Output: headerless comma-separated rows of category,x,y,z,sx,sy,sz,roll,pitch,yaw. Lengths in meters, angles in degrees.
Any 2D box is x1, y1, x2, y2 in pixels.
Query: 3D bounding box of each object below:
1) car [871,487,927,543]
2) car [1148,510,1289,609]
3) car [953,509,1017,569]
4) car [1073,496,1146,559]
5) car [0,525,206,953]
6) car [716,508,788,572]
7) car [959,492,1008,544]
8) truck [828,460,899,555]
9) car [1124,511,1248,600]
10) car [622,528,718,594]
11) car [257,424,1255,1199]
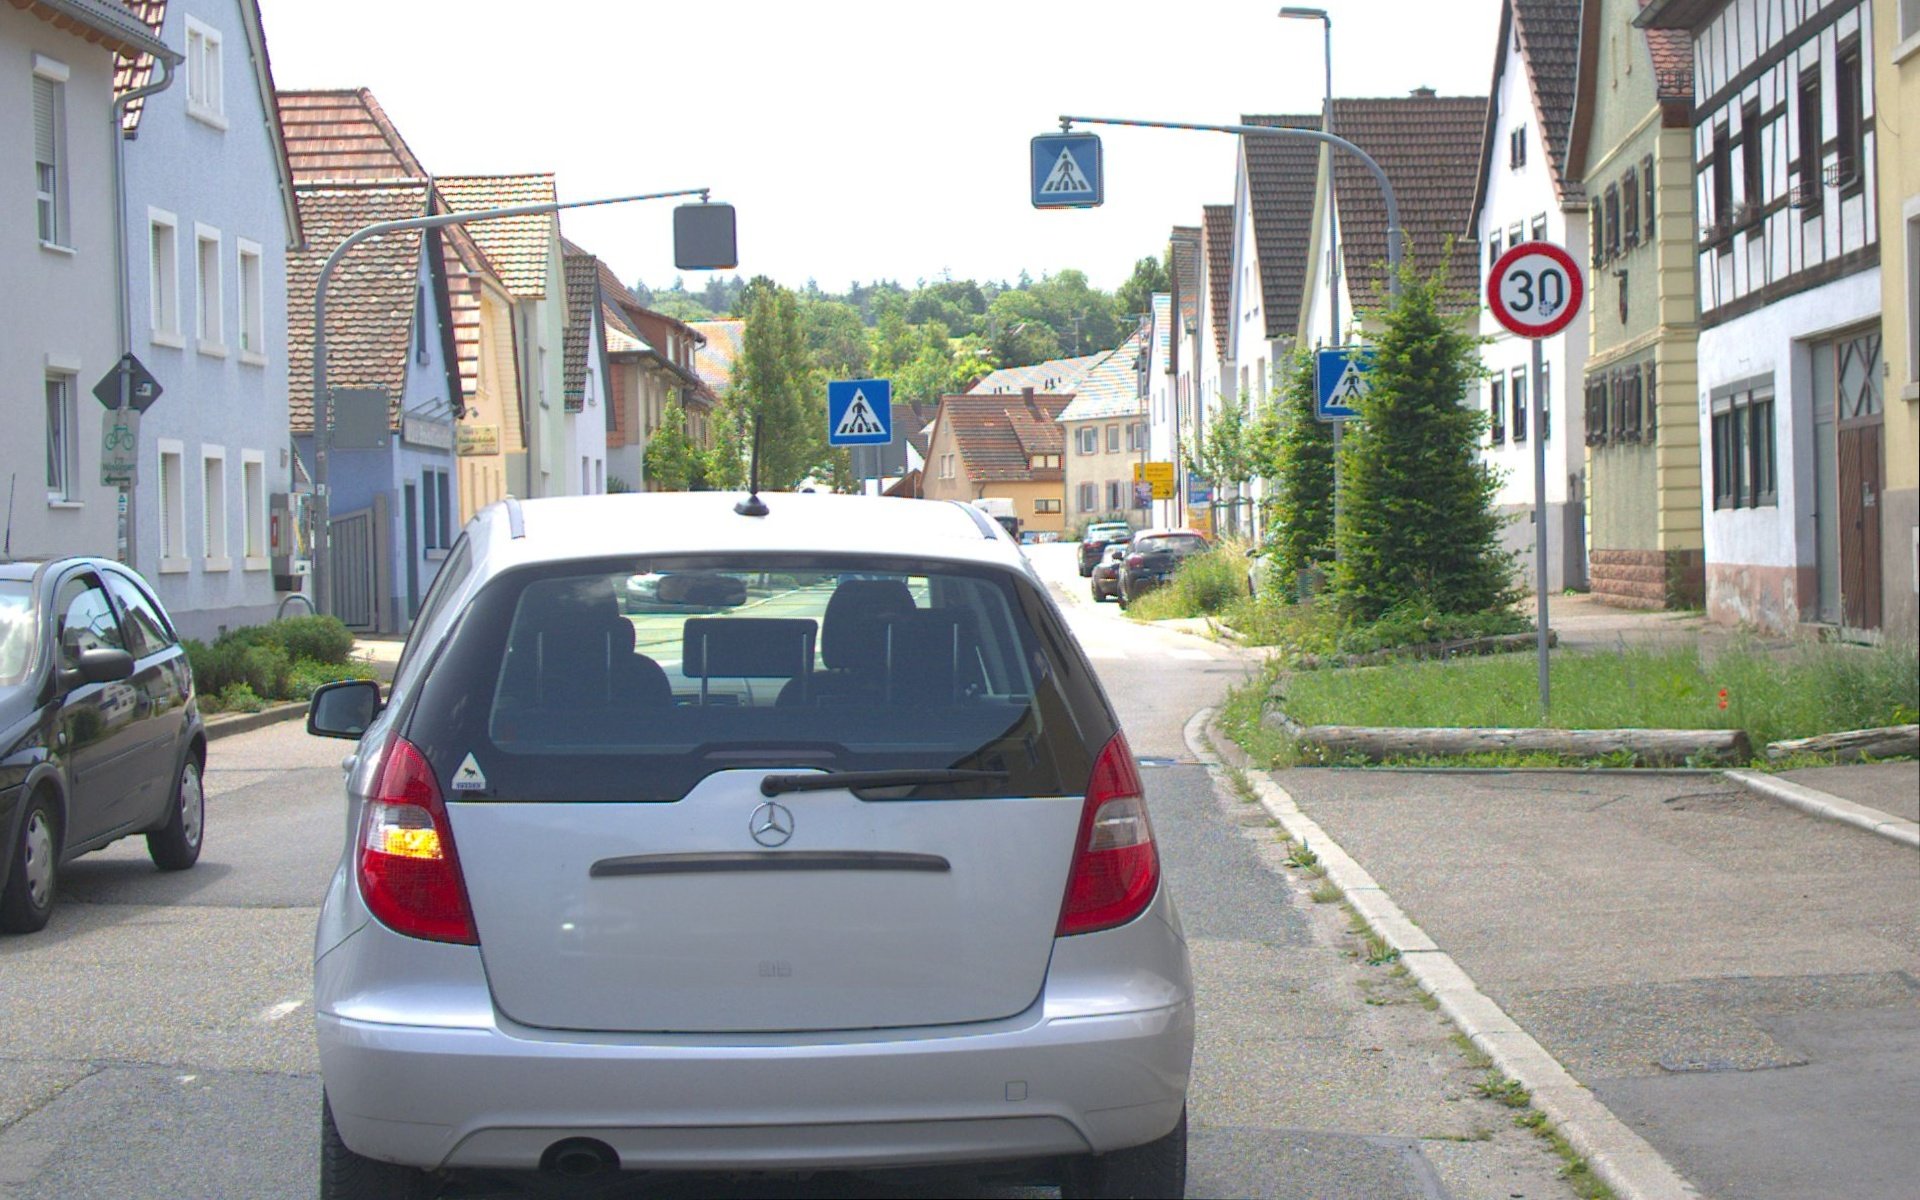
car,-2.356,-3.281,133.538,1.993,2.007,4.000,0,-1,2
car,4.158,-0.630,55.771,1.993,1.503,4.000,0,-1,0
car,0.799,-1.967,111.721,1.993,1.810,4.000,0,-1,-1
car,4.572,-2.215,105.800,1.993,1.810,4.000,0,-1,-1
car,-4.195,0.519,13.758,1.500,1.535,3.856,-1,-1,0
car,-5.523,-1.571,91.706,1.667,1.590,4.000,0,-1,0
car,0.963,-3.364,141.767,1.993,2.007,4.000,0,-1,0
truck,-2.817,-2.691,101.730,1.993,2.528,6.739,0,-1,-1
car,4.052,-0.784,62.308,1.993,1.503,4.000,0,-1,0
car,-6.175,-0.814,73.096,1.993,1.317,3.709,0,-1,-5
car,-0.583,0.495,8.174,1.810,1.638,3.730,1,1,-7
